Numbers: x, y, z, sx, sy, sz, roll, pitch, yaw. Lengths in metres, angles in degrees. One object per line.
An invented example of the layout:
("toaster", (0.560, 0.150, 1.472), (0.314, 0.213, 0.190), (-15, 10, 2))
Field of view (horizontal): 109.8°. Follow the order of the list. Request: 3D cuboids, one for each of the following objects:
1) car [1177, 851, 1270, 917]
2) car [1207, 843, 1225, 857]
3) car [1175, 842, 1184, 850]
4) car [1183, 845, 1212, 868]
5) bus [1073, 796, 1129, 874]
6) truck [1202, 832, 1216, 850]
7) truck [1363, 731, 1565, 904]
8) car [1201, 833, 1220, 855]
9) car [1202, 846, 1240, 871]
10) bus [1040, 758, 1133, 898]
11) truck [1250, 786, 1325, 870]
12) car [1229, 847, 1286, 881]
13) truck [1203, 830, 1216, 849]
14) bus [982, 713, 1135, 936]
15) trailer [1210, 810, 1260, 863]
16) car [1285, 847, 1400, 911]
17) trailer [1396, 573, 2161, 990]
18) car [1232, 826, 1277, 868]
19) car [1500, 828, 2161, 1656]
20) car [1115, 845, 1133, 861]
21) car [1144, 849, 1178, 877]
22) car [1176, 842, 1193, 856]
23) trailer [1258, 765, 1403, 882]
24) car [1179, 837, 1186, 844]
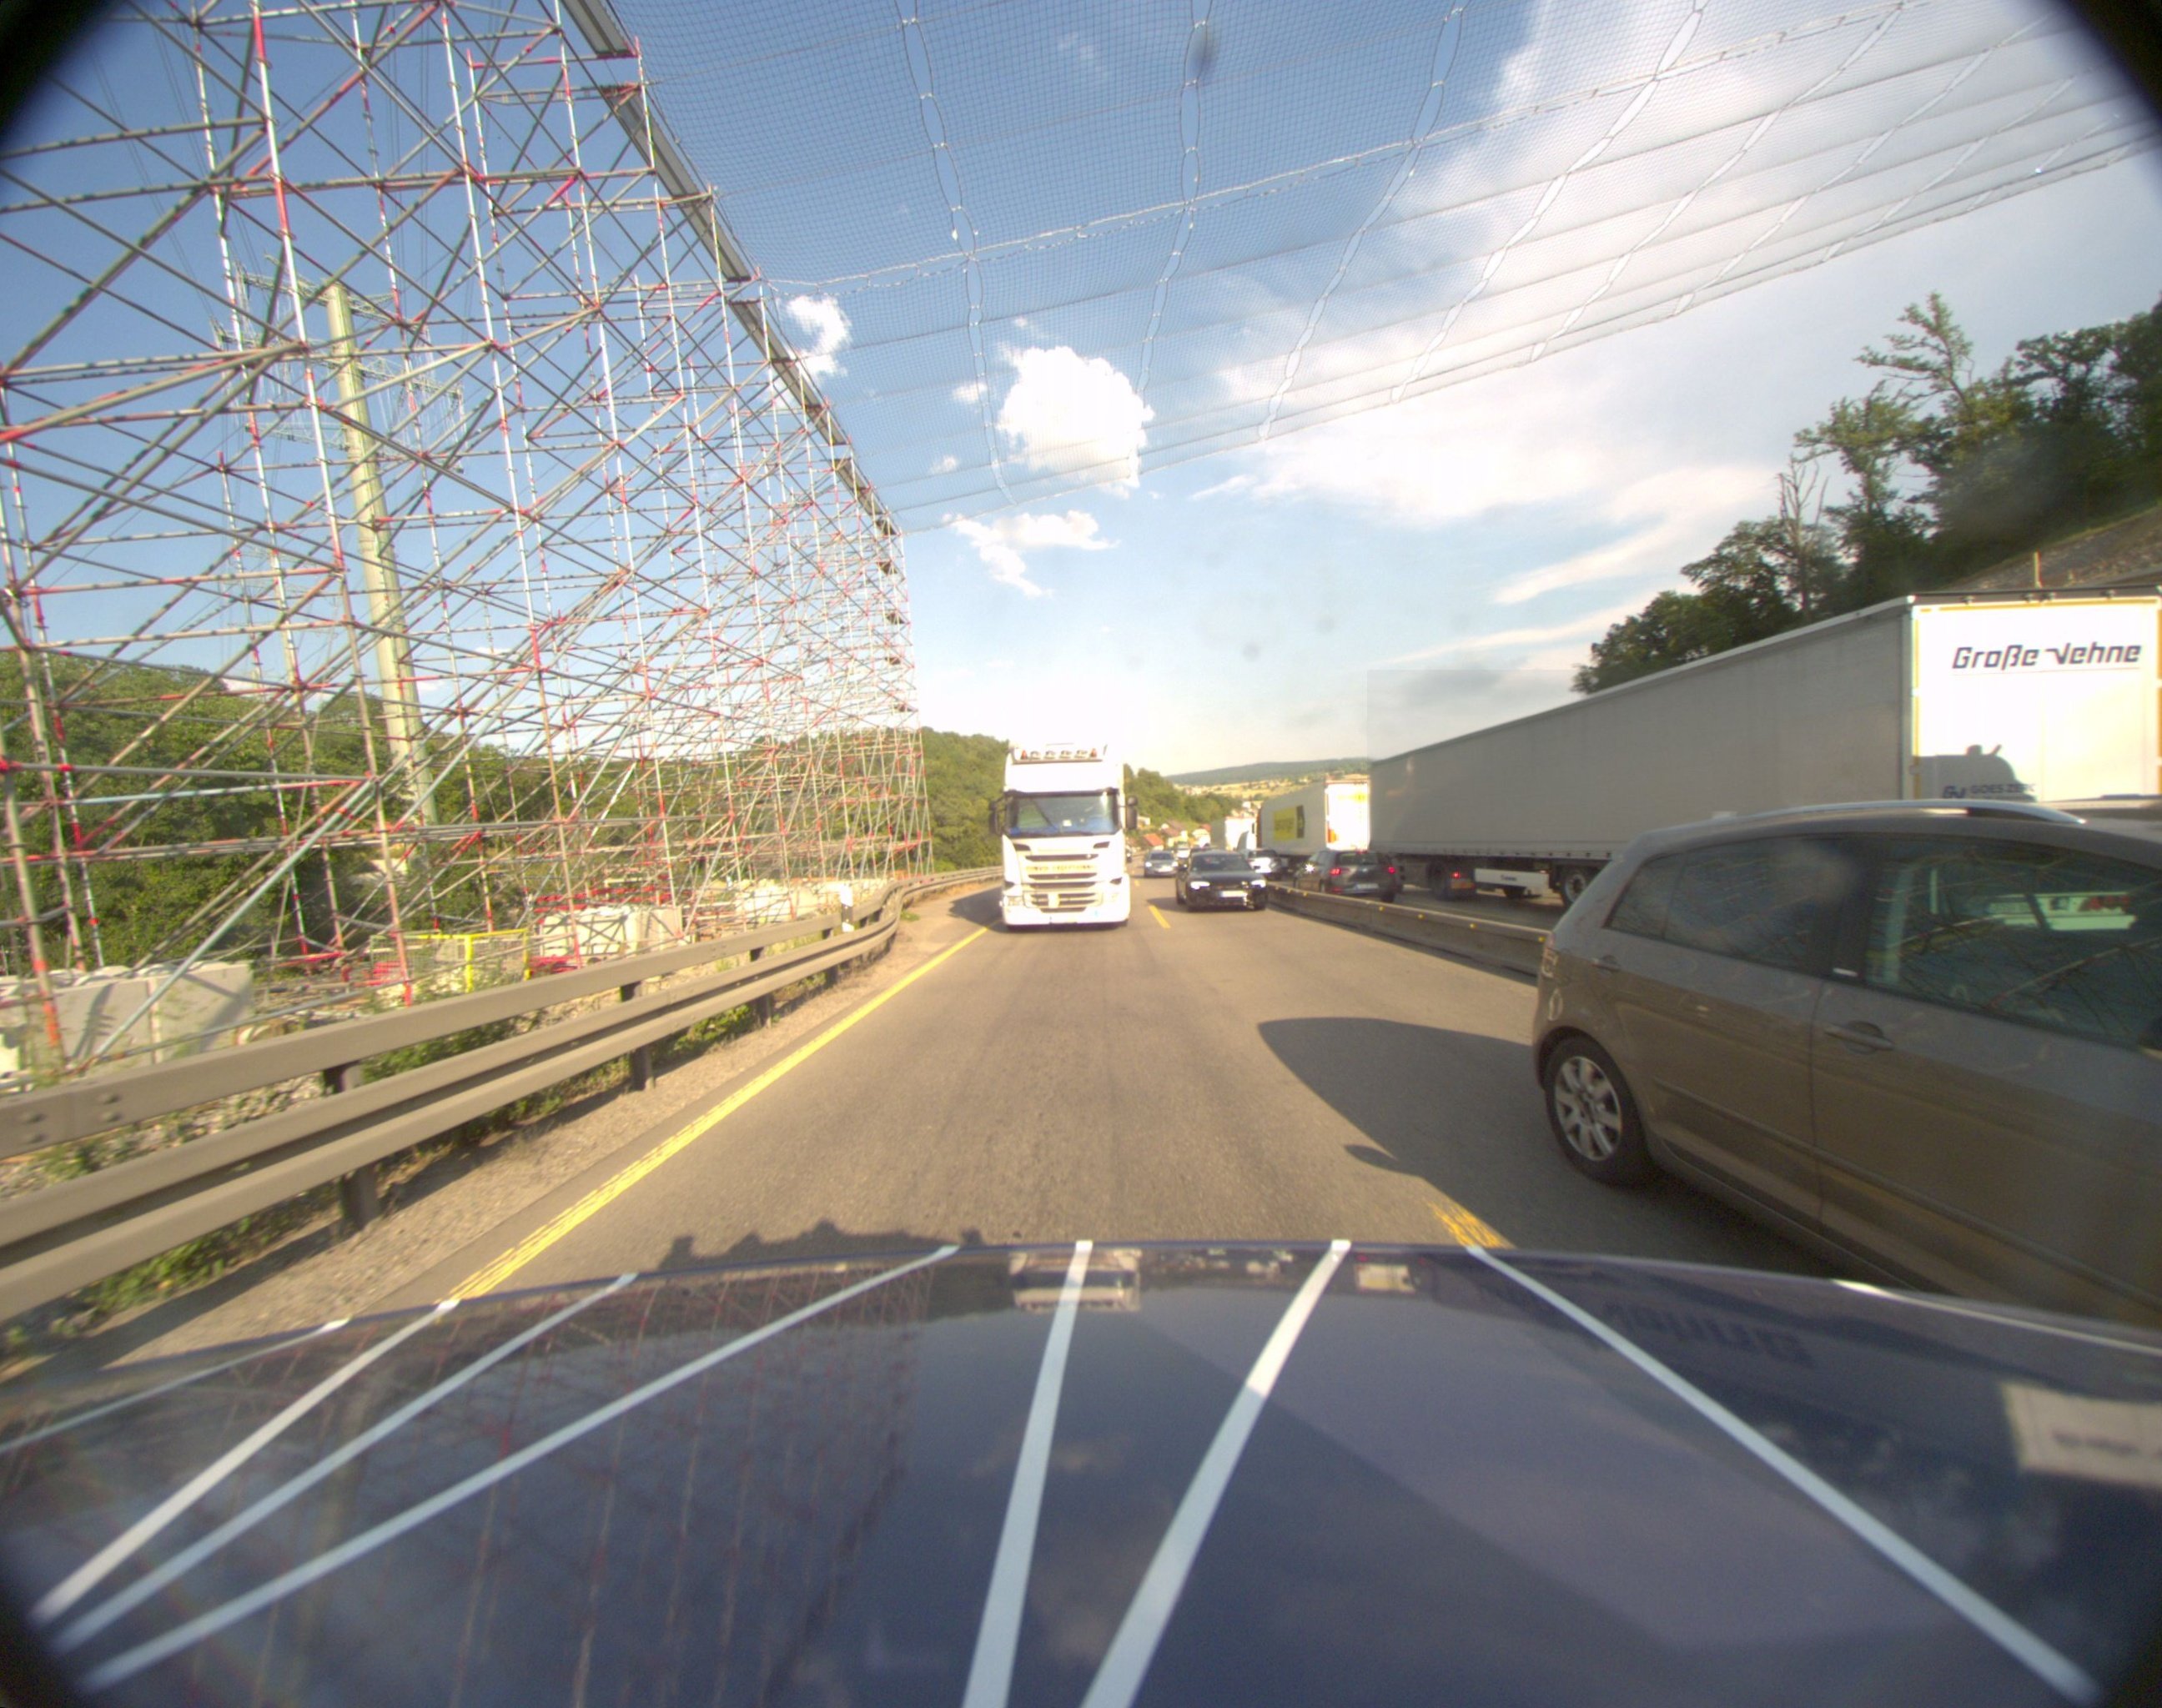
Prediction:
("car", (3.482, 0.671, 19.244), (1.866, 1.391, 4.000), (-1, 1, 4))
("car", (15.369, -0.455, 86.721), (1.747, 1.452, 4.715), (-1, 0, 6))
("car", (20.141, -1.586, 155.411), (1.821, 1.570, 4.758), (0, 0, 7))
("car", (8.880, 0.177, 58.379), (1.756, 1.648, 4.863), (-2, 1, 4))
("bus", (1.516, -1.171, 50.159), (2.984, 4.553, 10.906), (-1, 1, 5))
("truck", (26.245, -2.668, 155.620), (2.451, 3.443, 7.622), (-1, 1, 11))
("truck", (10.395, -0.933, 21.411), (2.794, 4.118, 5.933), (-2, 1, 2))
("car", (17.913, -1.462, 105.222), (2.338, 2.901, 7.636), (-1, 1, 9))
("car", (8.762, 0.248, 47.912), (1.735, 1.369, 4.892), (-3, 1, 4))
("bus", (0.441, -0.905, 30.157), (2.984, 4.553, 9.968), (-1, 1, 3))
("truck", (11.338, -1.394, 42.305), (2.751, 4.275, 5.934), (-2, 1, 3))
("car", (8.064, 0.416, 35.063), (1.736, 1.431, 4.839), (-1, 0, 3))
("truck", (28.637, -3.308, 169.310), (2.712, 4.065, 14.161), (-1, 1, 10))
("bus", (-0.030, -0.663, 19.683), (2.634, 4.077, 11.315), (-1, 1, 5))
("trailer", (13.561, -1.533, 68.056), (2.727, 4.194, 13.751), (-2, 1, 5))
("car", (6.868, 0.574, 20.440), (1.654, 1.455, 4.400), (-3, 1, 2))
("trailer", (10.182, -0.831, 14.627), (2.805, 4.117, 13.965), (-2, 1, 2))
("car", (12.351, -0.468, 54.631), (2.026, 2.674, 6.951), (-3, 0, 4))
("car", (2.910, 0.740, 1.663), (1.688, 1.565, 4.098), (-2, 1, 0))
("car", (4.910, -0.147, 86.963), (1.998, 1.630, 4.000), (-2, 1, 2))
("car", (4.310, 0.470, 41.334), (1.698, 1.390, 4.001), (-3, 0, 5))
("car", (12.537, -0.578, 91.857), (1.873, 1.579, 4.805), (-3, 1, 7))
("trailer", (11.009, -1.264, 35.530), (2.772, 4.309, 13.881), (-2, 1, 3))
("car", (28.455, -3.746, 212.532), (1.821, 1.988, 4.758), (0, 0, 7))
